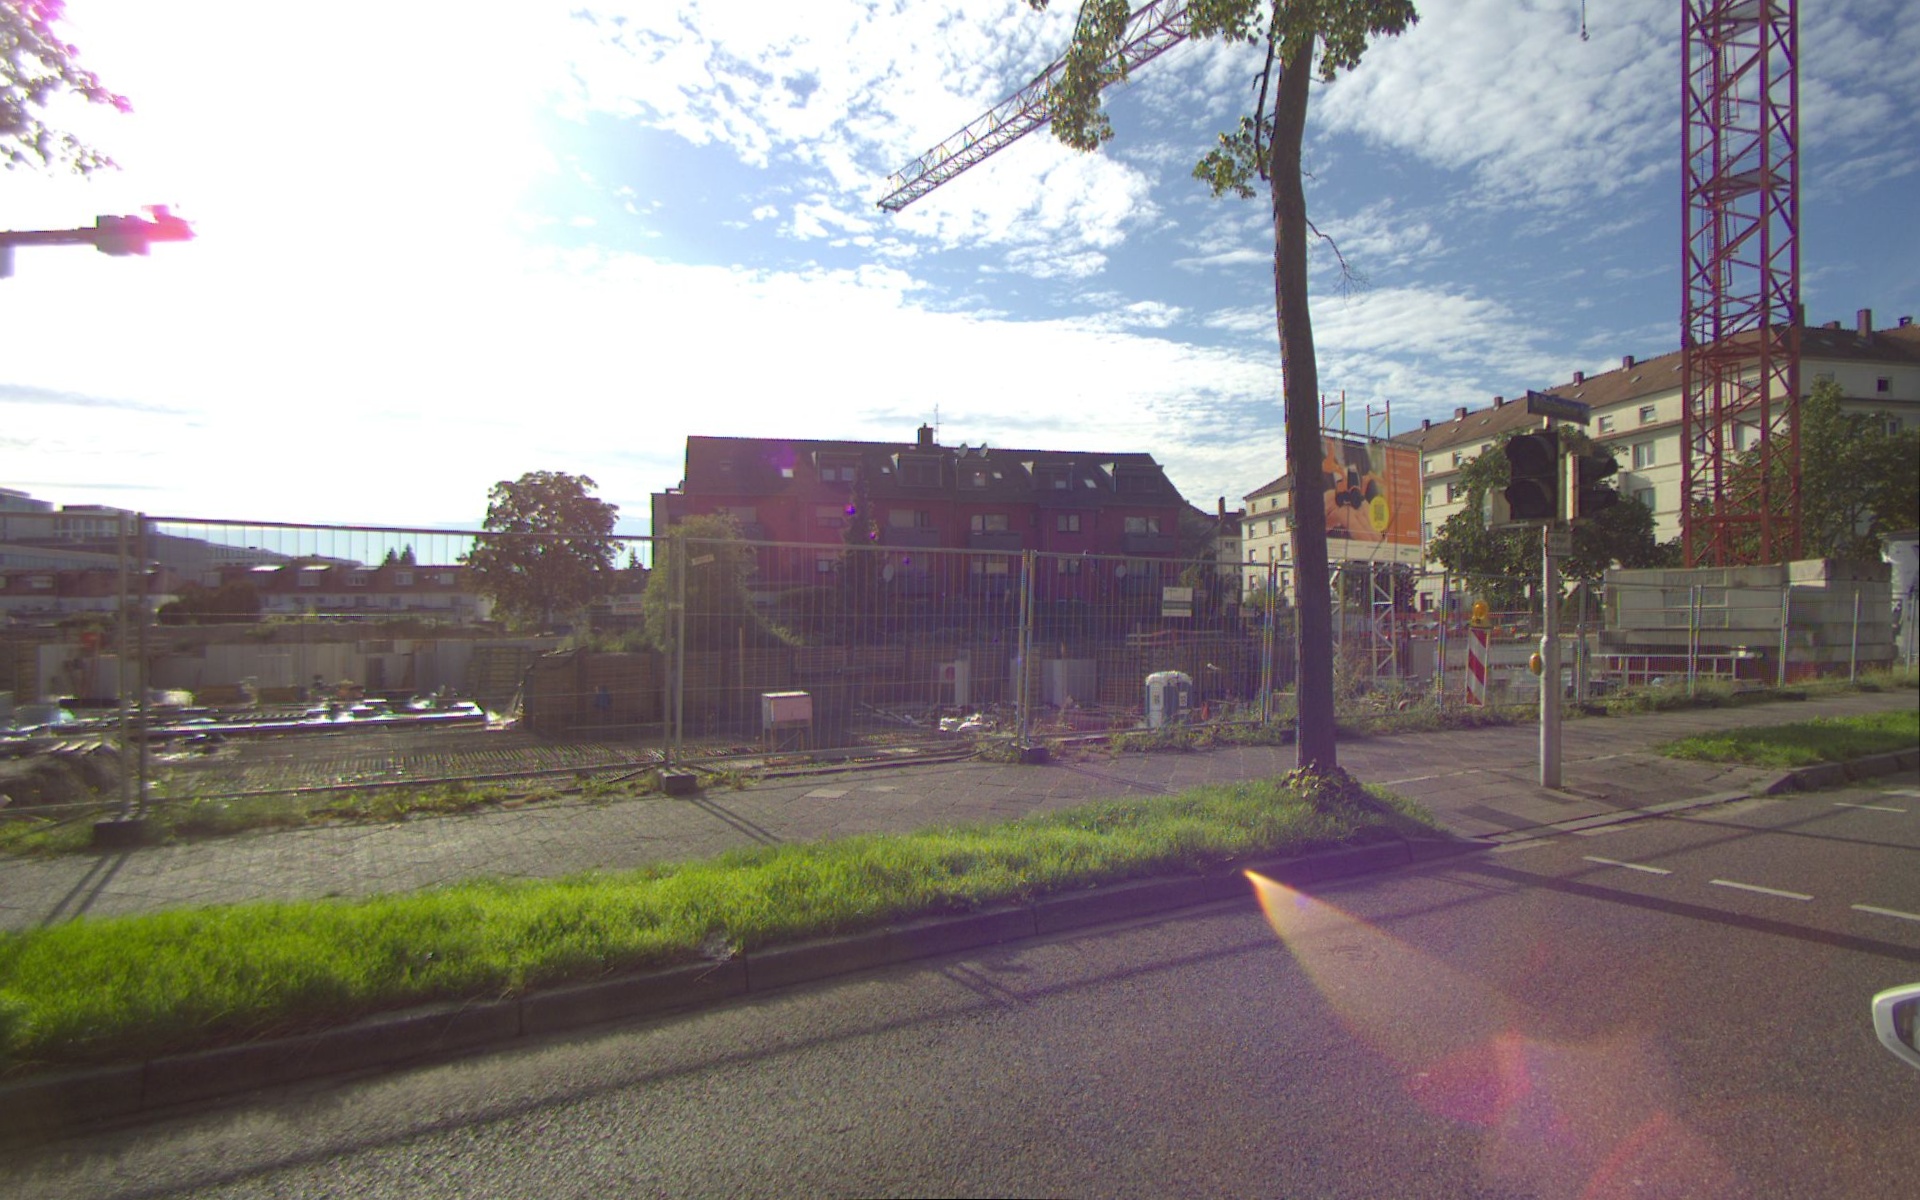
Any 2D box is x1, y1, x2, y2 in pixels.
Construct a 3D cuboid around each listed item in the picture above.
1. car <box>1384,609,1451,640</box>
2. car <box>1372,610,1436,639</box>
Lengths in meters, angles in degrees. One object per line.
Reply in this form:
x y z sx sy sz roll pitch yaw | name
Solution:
31.540 1.684 69.327 3.937 2.040 1.992 1 -1 -19 | car
31.785 1.723 71.945 3.937 2.040 1.992 1 -1 -19 | car
